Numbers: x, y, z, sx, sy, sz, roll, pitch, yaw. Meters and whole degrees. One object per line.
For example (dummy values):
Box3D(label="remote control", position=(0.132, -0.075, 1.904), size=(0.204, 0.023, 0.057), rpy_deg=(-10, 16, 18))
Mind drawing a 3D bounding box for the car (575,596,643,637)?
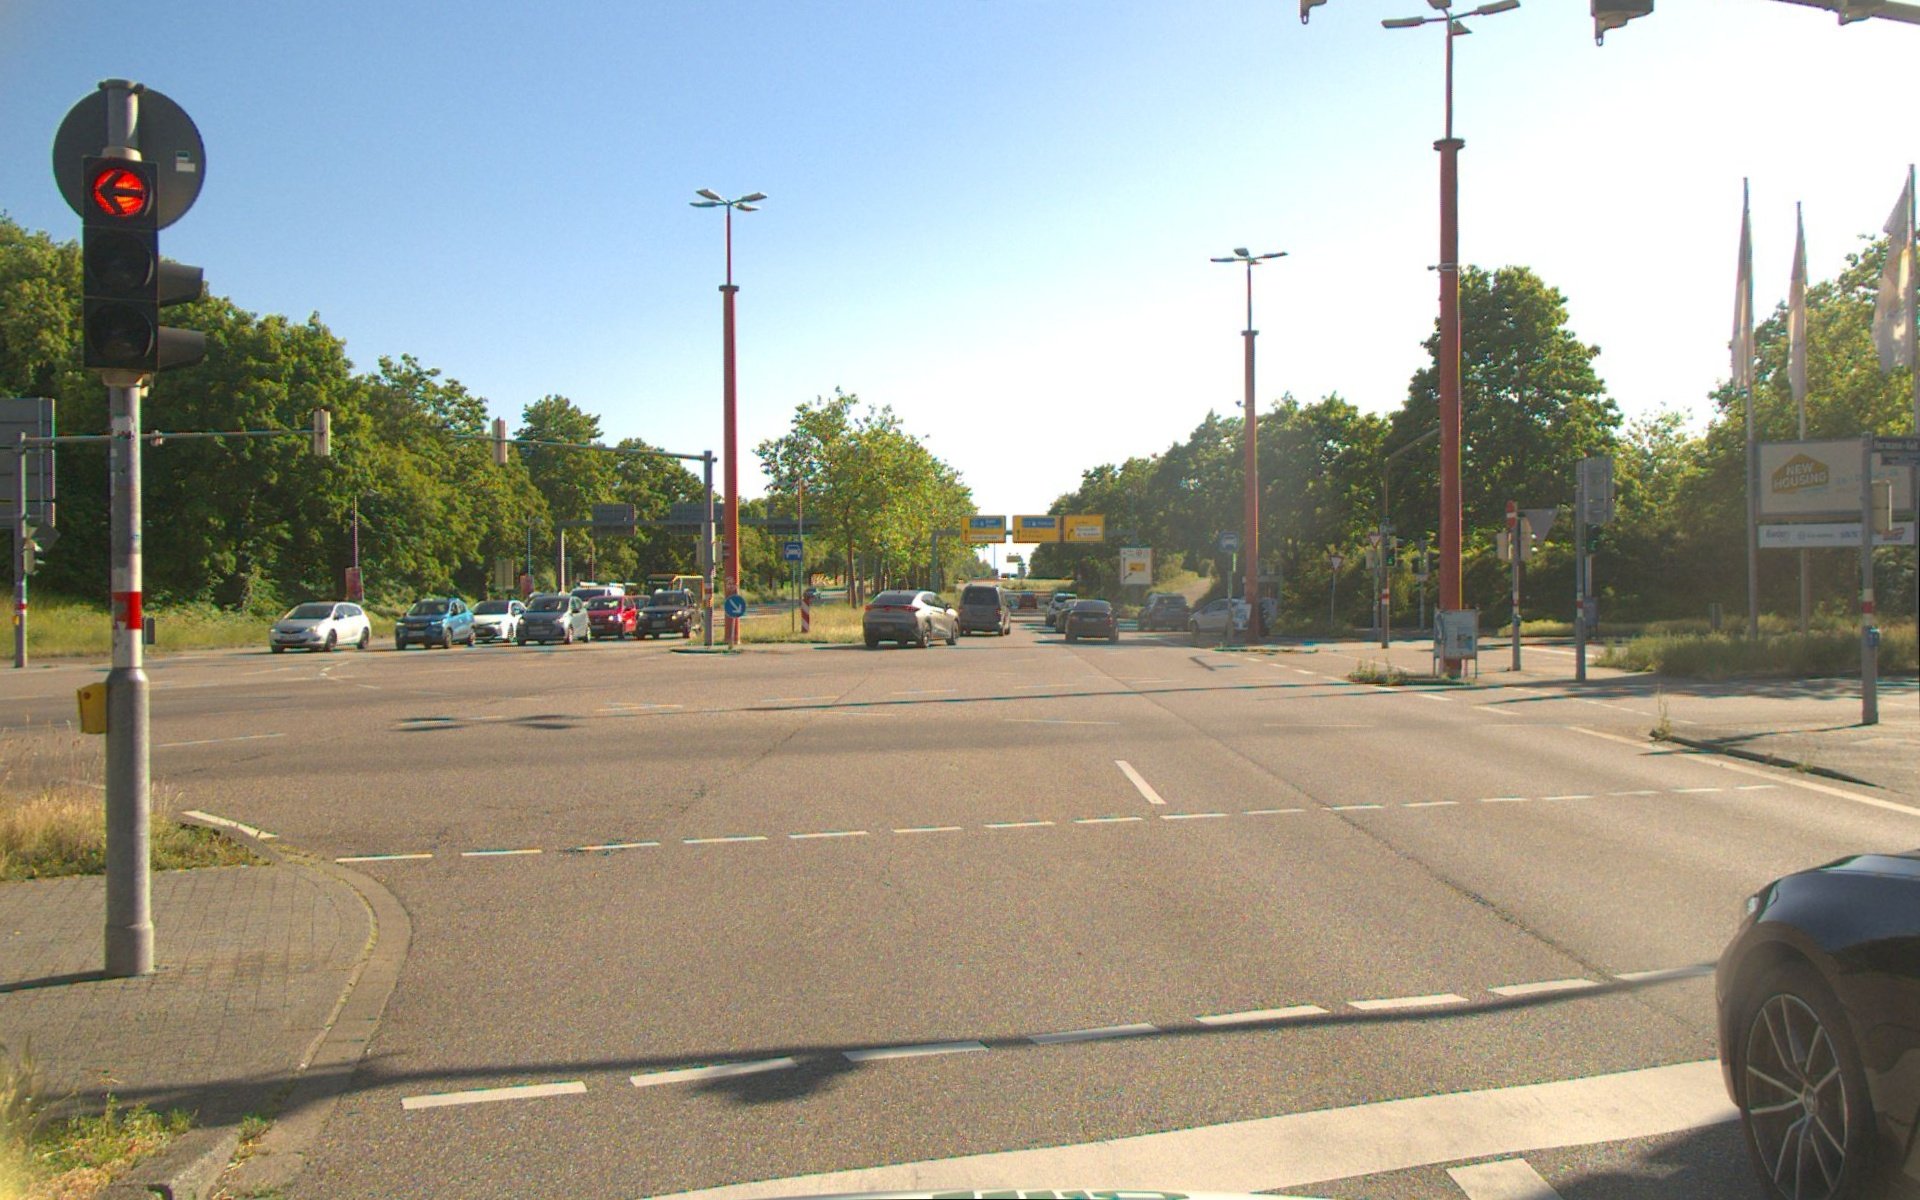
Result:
Box3D(label="car", position=(-12.272, 0.552, 58.081), size=(1.704, 1.386, 3.611), rpy_deg=(0, 0, -2))

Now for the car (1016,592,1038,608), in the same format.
Box3D(label="car", position=(6.055, -0.006, 150.503), size=(1.646, 1.460, 4.063), rpy_deg=(0, 0, -2))

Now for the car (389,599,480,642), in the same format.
Box3D(label="car", position=(-16.047, 0.610, 50.682), size=(1.704, 1.265, 3.611), rpy_deg=(0, 0, -2))

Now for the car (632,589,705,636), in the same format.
Box3D(label="car", position=(-9.803, 0.401, 55.840), size=(1.782, 1.534, 3.999), rpy_deg=(0, 0, -1))

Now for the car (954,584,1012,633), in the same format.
Box3D(label="car", position=(0.895, 0.302, 61.740), size=(1.806, 1.738, 4.310), rpy_deg=(0, 0, 6))

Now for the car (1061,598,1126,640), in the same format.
Box3D(label="car", position=(4.587, 0.618, 56.274), size=(1.722, 1.373, 4.367), rpy_deg=(0, 0, 11))

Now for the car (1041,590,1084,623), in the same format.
Box3D(label="car", position=(5.263, 0.331, 85.356), size=(1.786, 1.665, 4.251), rpy_deg=(0, 0, -2))

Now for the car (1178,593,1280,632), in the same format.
Box3D(label="car", position=(10.548, 0.479, 65.116), size=(1.665, 1.493, 3.944), rpy_deg=(0, 0, -36))

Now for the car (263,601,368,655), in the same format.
Box3D(label="car", position=(-19.478, 0.822, 50.135), size=(1.725, 1.559, 3.934), rpy_deg=(0, 0, -2))

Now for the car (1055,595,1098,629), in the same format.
Box3D(label="car", position=(4.946, 0.481, 69.908), size=(1.722, 1.373, 4.365), rpy_deg=(0, 0, 4))

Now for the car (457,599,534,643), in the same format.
Box3D(label="car", position=(-15.923, 0.700, 56.799), size=(1.704, 1.436, 3.611), rpy_deg=(0, 0, -2))

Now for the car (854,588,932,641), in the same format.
Box3D(label="car", position=(-1.884, 0.402, 47.802), size=(1.792, 1.447, 4.439), rpy_deg=(0, 0, 3))

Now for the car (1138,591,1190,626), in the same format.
Box3D(label="car", position=(9.234, 0.373, 75.118), size=(1.743, 1.511, 4.328), rpy_deg=(0, 0, -1))

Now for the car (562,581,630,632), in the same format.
Box3D(label="car", position=(-15.573, 0.306, 70.977), size=(1.855, 2.061, 5.221), rpy_deg=(1, -1, -2))

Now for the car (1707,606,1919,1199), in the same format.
Box3D(label="car", position=(2.947, 0.733, 2.367), size=(1.831, 1.422, 4.444), rpy_deg=(0, 0, 1))

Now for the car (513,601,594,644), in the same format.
Box3D(label="car", position=(-12.666, 0.668, 51.703), size=(1.704, 1.265, 3.611), rpy_deg=(0, 0, -2))
